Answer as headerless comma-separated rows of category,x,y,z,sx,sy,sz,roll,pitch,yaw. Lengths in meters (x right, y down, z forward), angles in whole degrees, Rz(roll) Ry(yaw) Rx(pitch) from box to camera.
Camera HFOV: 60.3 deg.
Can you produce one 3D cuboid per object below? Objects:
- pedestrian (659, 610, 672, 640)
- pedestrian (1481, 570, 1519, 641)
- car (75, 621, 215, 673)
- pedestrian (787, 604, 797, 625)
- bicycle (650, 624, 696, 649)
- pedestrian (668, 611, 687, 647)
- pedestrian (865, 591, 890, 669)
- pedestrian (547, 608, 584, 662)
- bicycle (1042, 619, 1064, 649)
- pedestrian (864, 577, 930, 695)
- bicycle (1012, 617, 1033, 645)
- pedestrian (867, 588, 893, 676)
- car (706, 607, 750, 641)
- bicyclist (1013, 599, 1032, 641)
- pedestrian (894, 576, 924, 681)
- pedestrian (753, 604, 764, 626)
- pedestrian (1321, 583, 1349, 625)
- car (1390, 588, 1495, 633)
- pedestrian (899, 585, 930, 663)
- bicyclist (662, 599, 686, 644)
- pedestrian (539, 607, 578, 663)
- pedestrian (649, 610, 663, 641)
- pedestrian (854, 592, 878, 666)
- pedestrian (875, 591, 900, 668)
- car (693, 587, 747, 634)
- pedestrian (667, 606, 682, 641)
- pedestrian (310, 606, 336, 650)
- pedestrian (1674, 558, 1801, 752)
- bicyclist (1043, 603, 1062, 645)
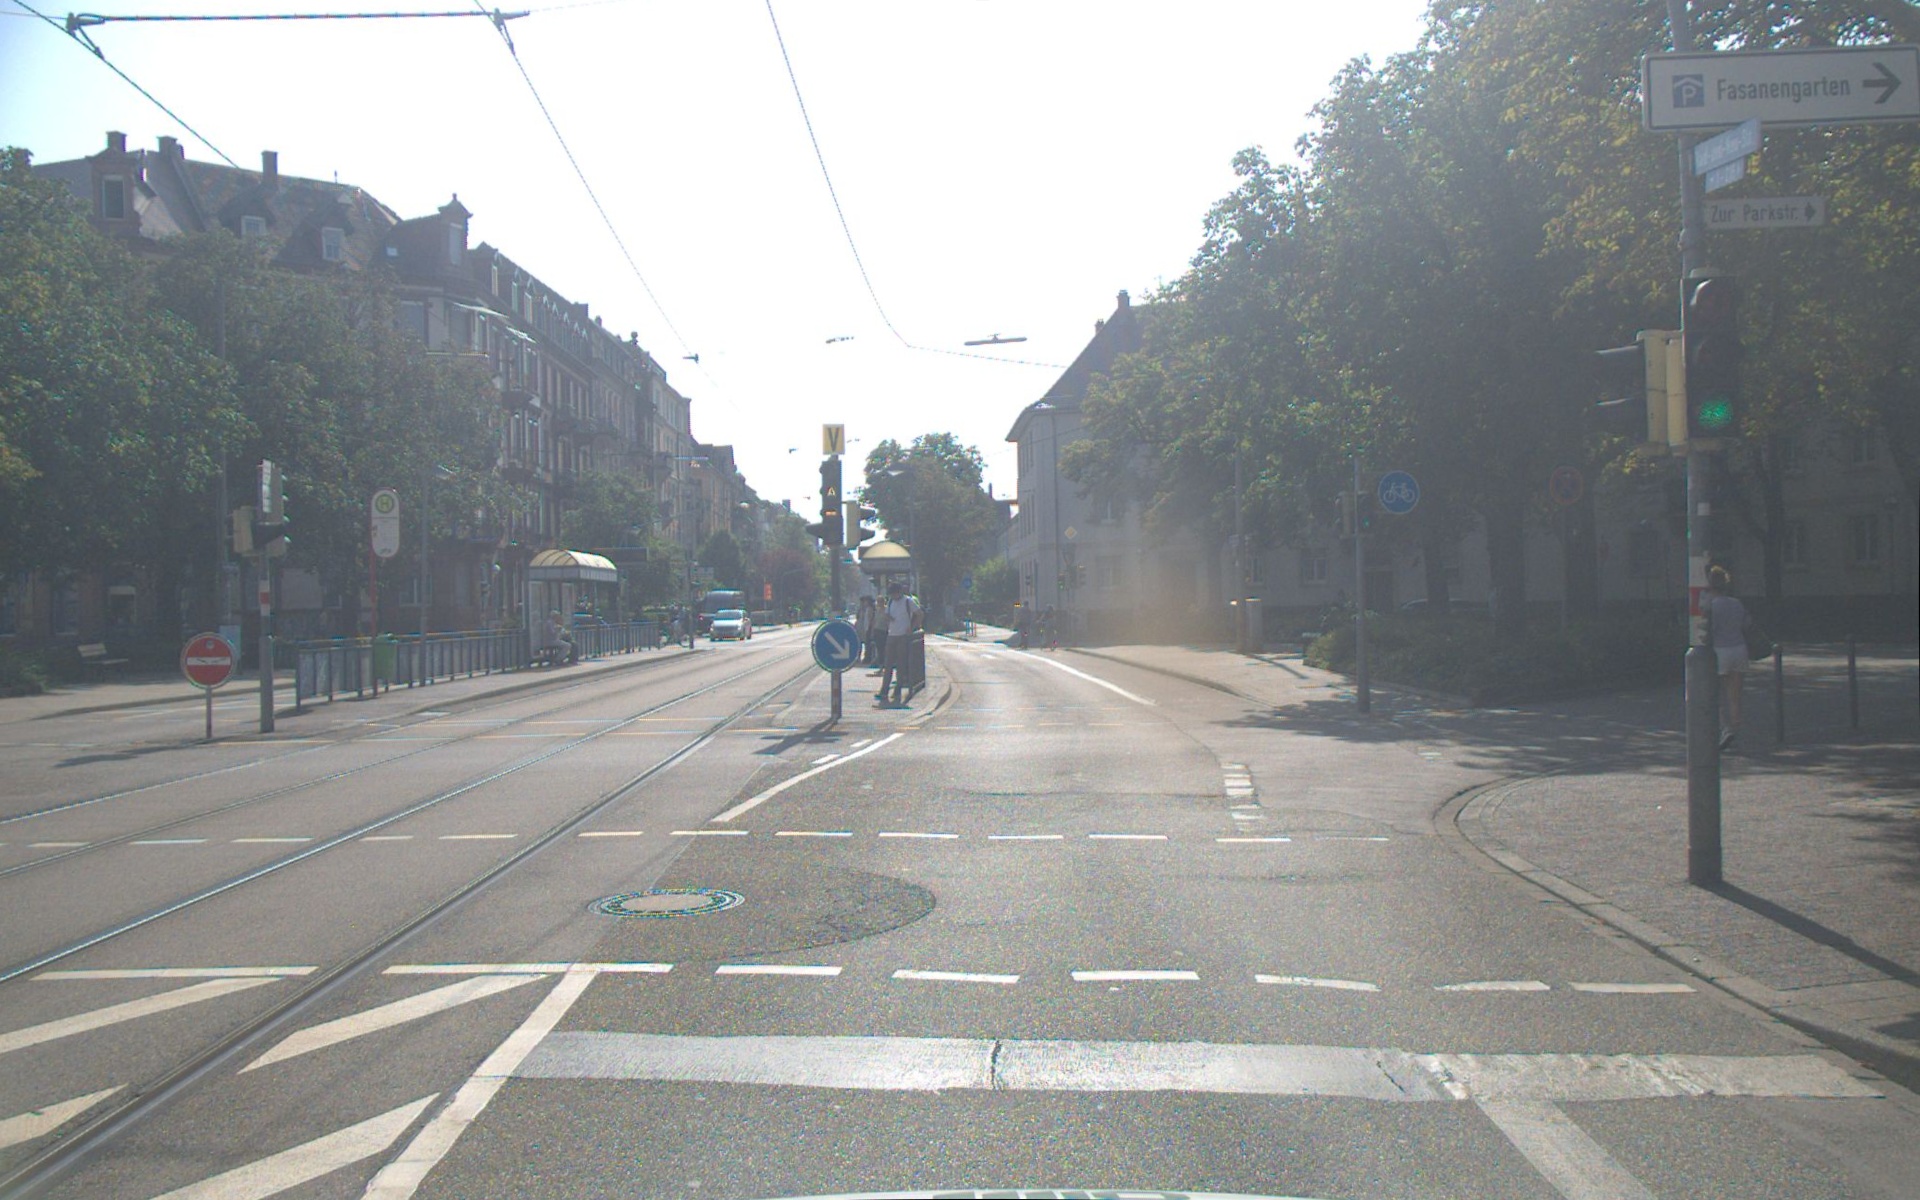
pedestrian,-17.227,1.454,96.719,0.736,1.761,0.769,-1,0,-10
pedestrian,13.835,0.136,42.388,0.872,1.771,0.776,-1,0,18
car,-28.200,1.600,57.257,4.275,1.596,1.980,-1,0,-30
pedestrian,-14.156,1.232,139.407,0.736,1.761,0.769,-1,0,-10
bicycle,-12.105,1.546,69.819,1.901,0.995,0.495,-1,0,-11
pedestrian,-14.052,1.443,82.280,0.734,1.761,0.771,-1,0,1
pedestrian,-1.906,0.693,38.417,0.532,1.790,0.534,1,2,-2
pedestrian,-10.203,0.897,42.830,0.812,1.382,0.775,-1,0,-6
bicycle,3.243,1.168,57.910,0.547,0.995,1.855,-2,0,-3
pedestrian,-0.966,0.534,25.463,0.687,1.755,0.746,2,2,31
bicycle,2.336,1.152,61.792,0.616,0.995,1.769,-2,0,-3
pedestrian,-1.669,0.662,34.414,0.494,1.790,0.534,1,2,-2
car,-12.045,1.212,86.019,1.765,1.682,3.642,-1,0,-1
bicyclist,2.332,0.749,61.793,0.616,1.534,0.678,-1,0,-3
pedestrian,-0.911,0.504,29.731,0.494,1.866,0.534,1,2,-2
pedestrian,-15.936,1.201,130.846,0.736,1.761,0.769,-1,0,-10
pedestrian,15.779,0.165,69.532,0.876,1.771,0.773,-2,-1,36
car,16.380,0.355,56.344,1.721,1.453,4.135,-2,0,-10
pedestrian,-1.065,0.559,38.627,0.694,1.790,0.534,1,2,-2
bicyclist,-12.080,0.912,69.829,0.968,1.890,0.492,-1,0,-10
pedestrian,-10.154,0.890,41.854,0.812,1.382,0.775,-1,0,-6
pedestrian,-17.241,1.454,93.762,0.736,1.761,0.769,-1,0,-10
pedestrian,-2.304,0.701,40.634,0.521,1.790,0.545,1,2,0
pedestrian,-1.719,0.690,39.230,0.532,1.790,0.534,1,2,-2
car,-14.659,0.633,101.161,2.298,2.708,5.106,-1,0,2
pedestrian,-14.664,1.198,84.982,0.736,1.761,0.769,-1,0,-10
pedestrian,-25.891,1.143,67.247,0.764,1.761,0.741,-1,-1,-40
pedestrian,7.307,0.504,15.567,0.736,1.761,0.769,-1,0,-10
bicyclist,3.228,0.825,57.925,0.547,1.441,0.871,-1,0,-3
